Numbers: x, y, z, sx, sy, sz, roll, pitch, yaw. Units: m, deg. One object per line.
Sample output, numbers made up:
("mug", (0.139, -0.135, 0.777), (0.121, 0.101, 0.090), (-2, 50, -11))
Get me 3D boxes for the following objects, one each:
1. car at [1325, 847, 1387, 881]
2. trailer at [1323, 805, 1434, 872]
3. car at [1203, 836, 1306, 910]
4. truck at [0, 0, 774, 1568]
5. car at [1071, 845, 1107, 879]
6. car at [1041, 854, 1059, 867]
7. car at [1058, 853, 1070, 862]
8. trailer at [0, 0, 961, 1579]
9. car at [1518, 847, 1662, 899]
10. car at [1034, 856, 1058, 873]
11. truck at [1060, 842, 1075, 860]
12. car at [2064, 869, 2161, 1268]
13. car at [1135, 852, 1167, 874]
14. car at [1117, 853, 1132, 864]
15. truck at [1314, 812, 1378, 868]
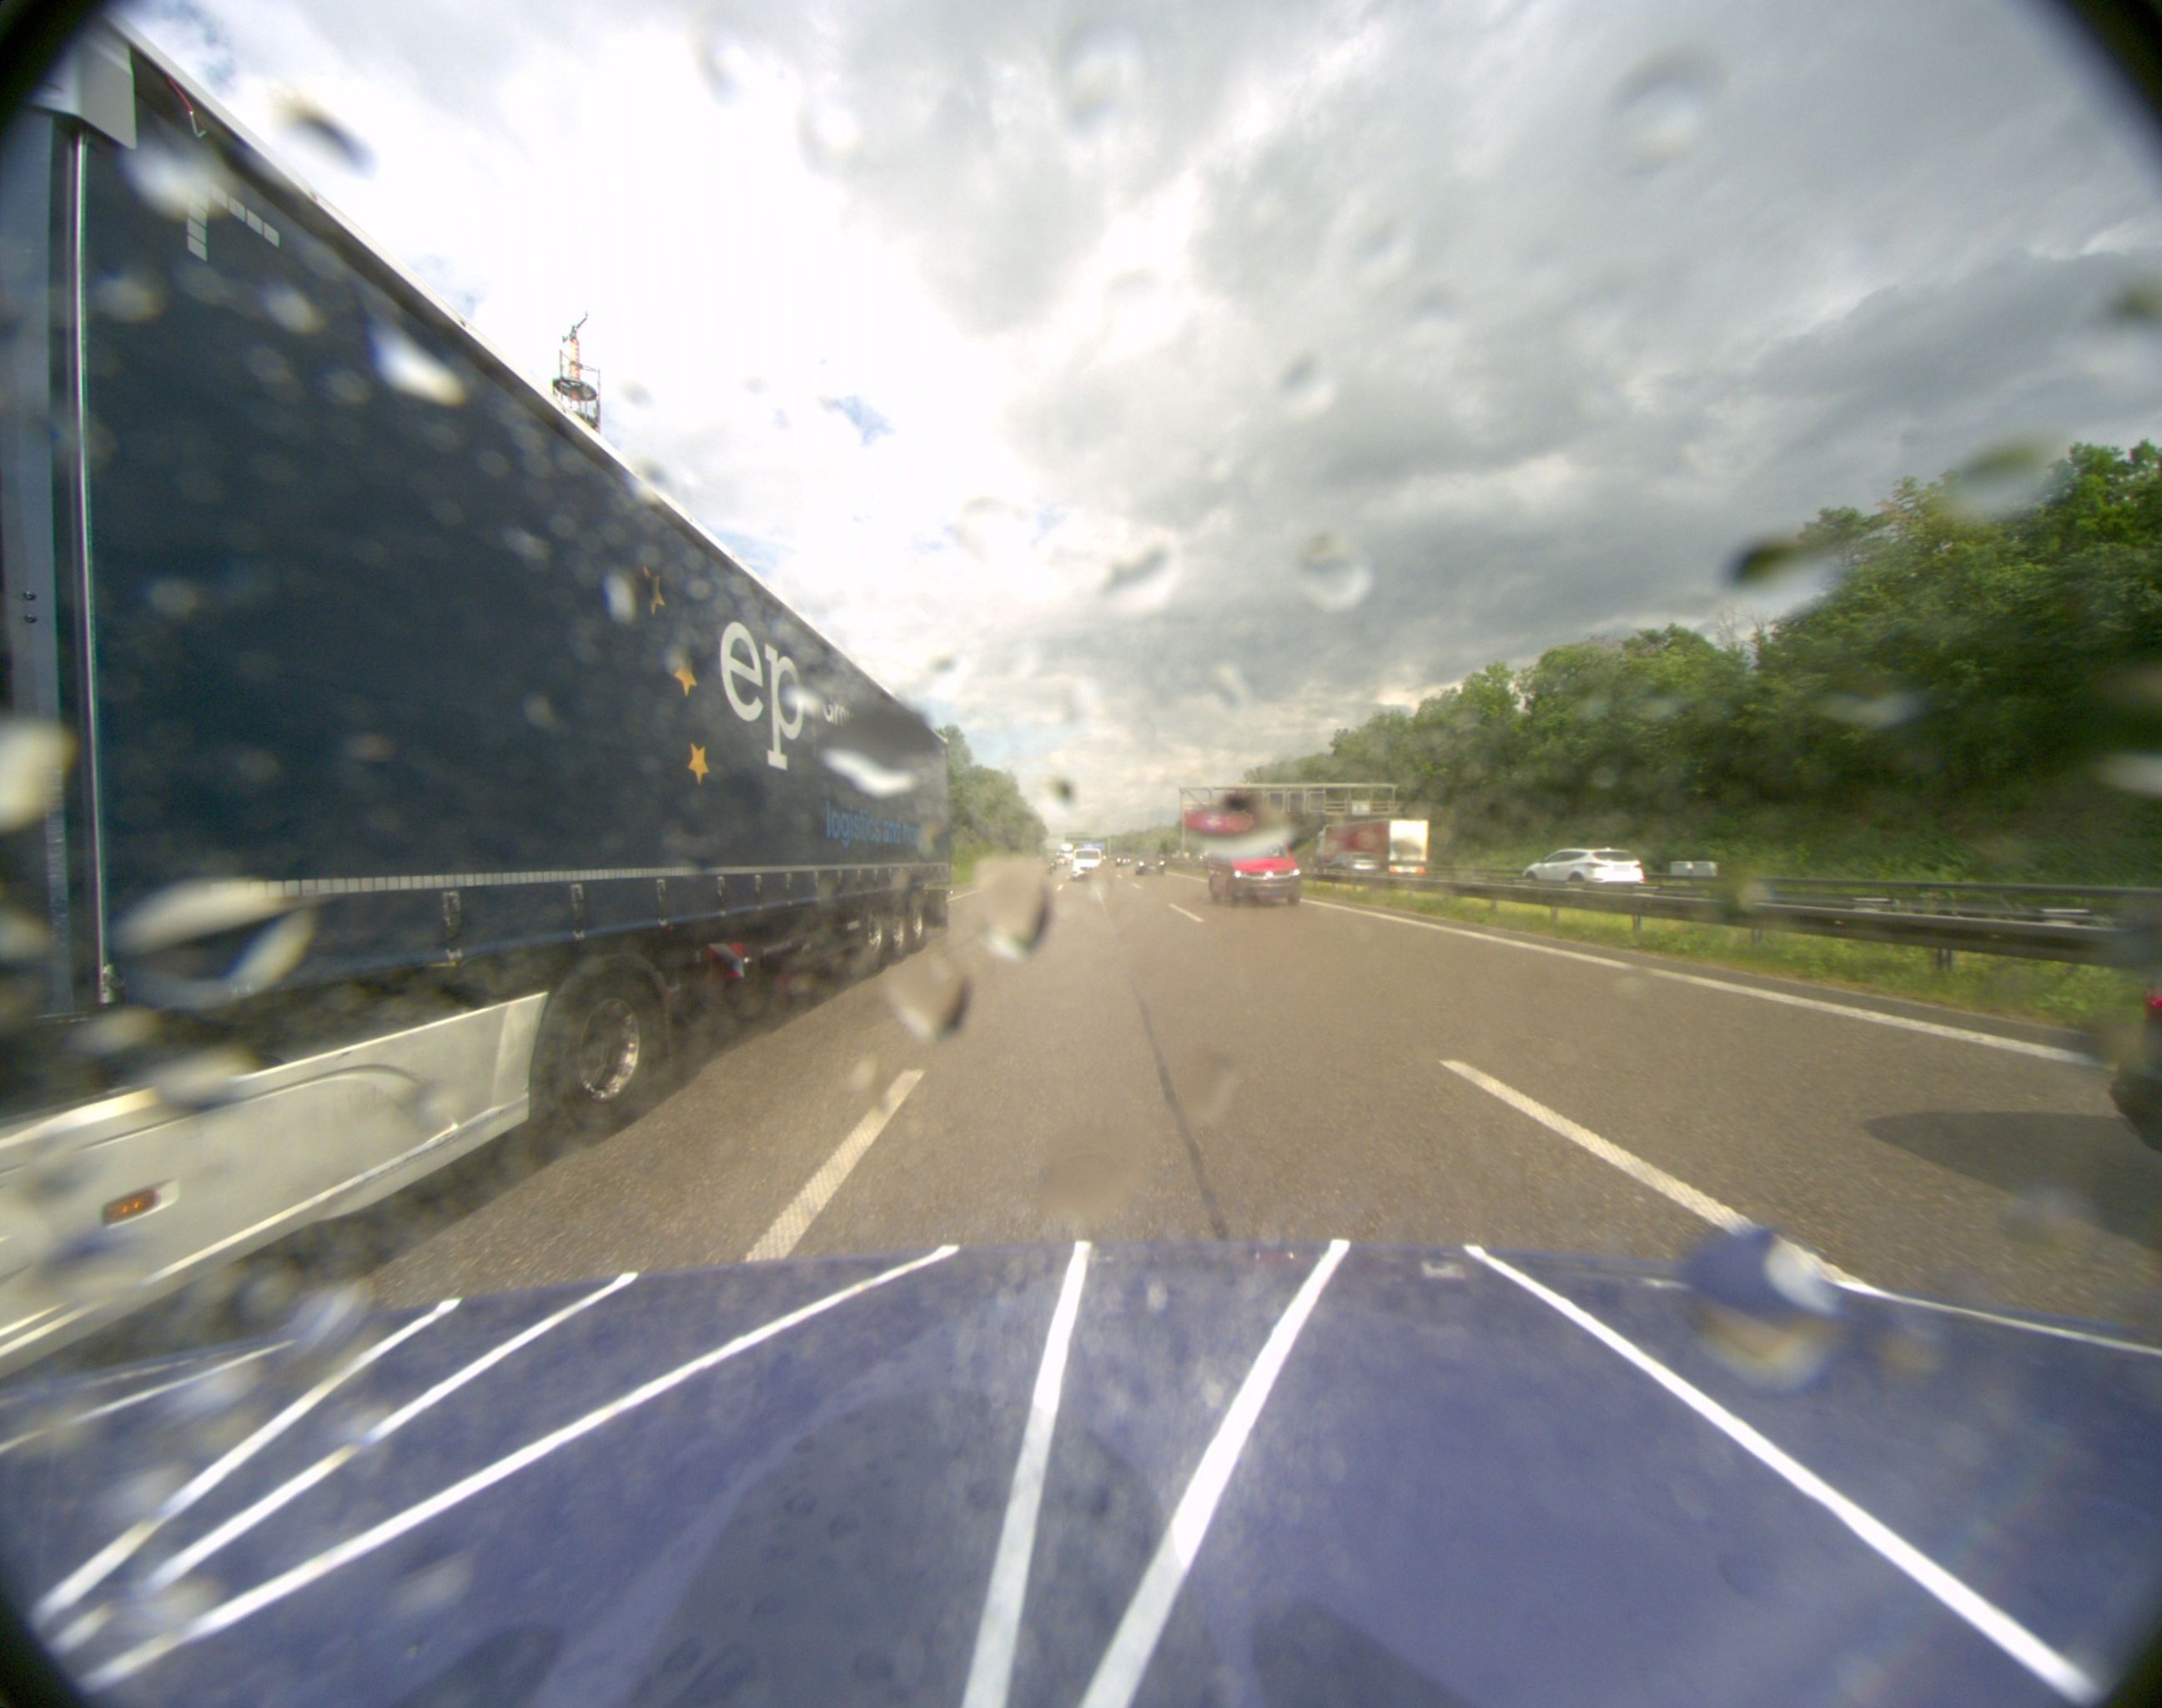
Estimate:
("car", (14.548, 0.509, 40.471), (1.736, 1.653, 4.235), (-2, 1, 0))
("trailer", (22.151, -1.086, 57.877), (2.870, 4.347, 14.090), (-2, 1, 0))
("car", (4.927, 0.482, 22.268), (1.926, 1.855, 4.838), (-2, 1, 1))
("truck", (-3.990, -0.214, 2.704), (2.613, 3.972, 7.289), (-2, 1, 0))
("car", (0.520, 0.479, 49.001), (2.124, 1.988, 5.982), (-2, 1, 1))
("car", (-3.710, 0.811, 91.686), (1.798, 1.410, 4.838), (-2, 1, 1))
("car", (-2.783, 0.623, 126.225), (1.798, 1.410, 4.838), (-2, 1, 1))
("trailer", (-3.947, -0.242, 8.743), (2.641, 3.972, 14.063), (-2, 1, 0))
("car", (18.202, 0.601, 27.491), (2.021, 1.653, 4.698), (-2, 1, 0))
("car", (-3.072, 0.919, 67.881), (1.798, 1.410, 4.838), (-2, 1, 1))
("truck", (-2.896, -0.613, 163.947), (3.064, 3.827, 8.799), (-1, 0, 0))
("car", (4.705, 0.765, 0.537), (1.798, 1.410, 4.838), (-2, 1, 1))
("car", (5.225, 0.649, 57.191), (2.009, 1.488, 4.838), (-2, 1, 1))
("car", (5.763, 0.571, 100.899), (1.798, 1.410, 4.838), (-2, 1, 1))
("truck", (22.174, -1.138, 64.072), (2.870, 4.347, 6.867), (-2, 1, 0))
